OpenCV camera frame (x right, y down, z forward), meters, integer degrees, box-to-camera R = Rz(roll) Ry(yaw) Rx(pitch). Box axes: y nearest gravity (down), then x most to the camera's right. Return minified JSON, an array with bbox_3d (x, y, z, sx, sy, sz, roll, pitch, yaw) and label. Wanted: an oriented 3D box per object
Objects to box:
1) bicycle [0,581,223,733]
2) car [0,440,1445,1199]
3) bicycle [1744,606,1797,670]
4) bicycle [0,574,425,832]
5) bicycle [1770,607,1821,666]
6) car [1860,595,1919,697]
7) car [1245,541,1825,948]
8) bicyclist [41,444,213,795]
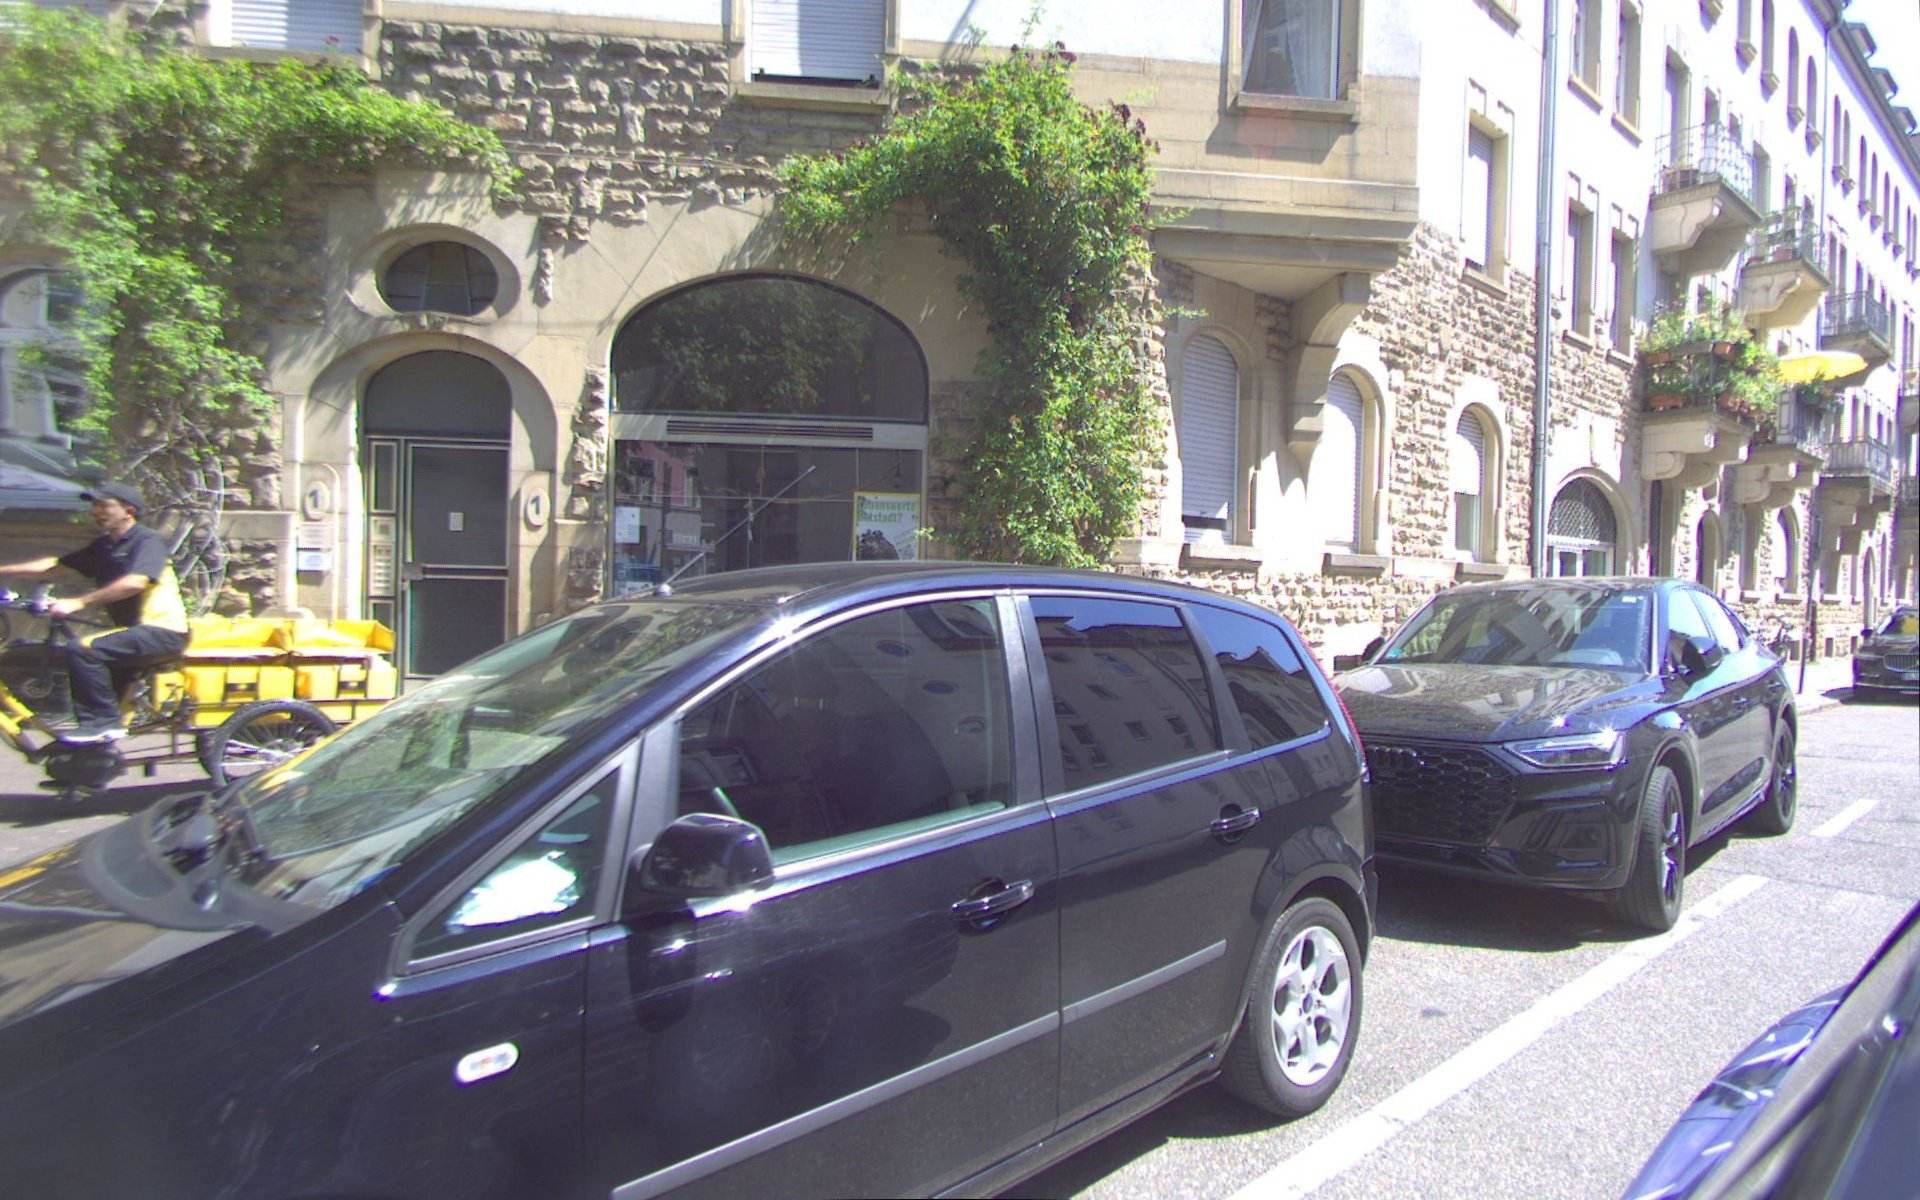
[{"bbox_3d":[-6.632,0.407,7.547,1.800,1.052,0.550,1,2,-5],"label":"bicycle"},{"bbox_3d":[-0.487,0.608,2.688,4.103,1.560,1.666,0,-1,-40],"label":"car"},{"bbox_3d":[16.381,0.746,20.439,1.742,1.222,0.385,0,2,-37],"label":"bicycle"},{"bbox_3d":[-4.328,0.472,5.355,2.533,1.183,0.795,0,2,-41],"label":"bicycle"},{"bbox_3d":[18.175,0.768,21.995,1.742,1.222,0.442,0,2,-37],"label":"bicycle"},{"bbox_3d":[16.713,0.714,16.941,4.523,1.587,1.836,0,-1,-40],"label":"car"},{"bbox_3d":[3.680,0.581,6.104,4.272,1.617,1.738,0,-1,-41],"label":"car"},{"bbox_3d":[-4.330,0.082,5.287,0.650,1.668,0.679,0,2,-39],"label":"bicyclist"}]
